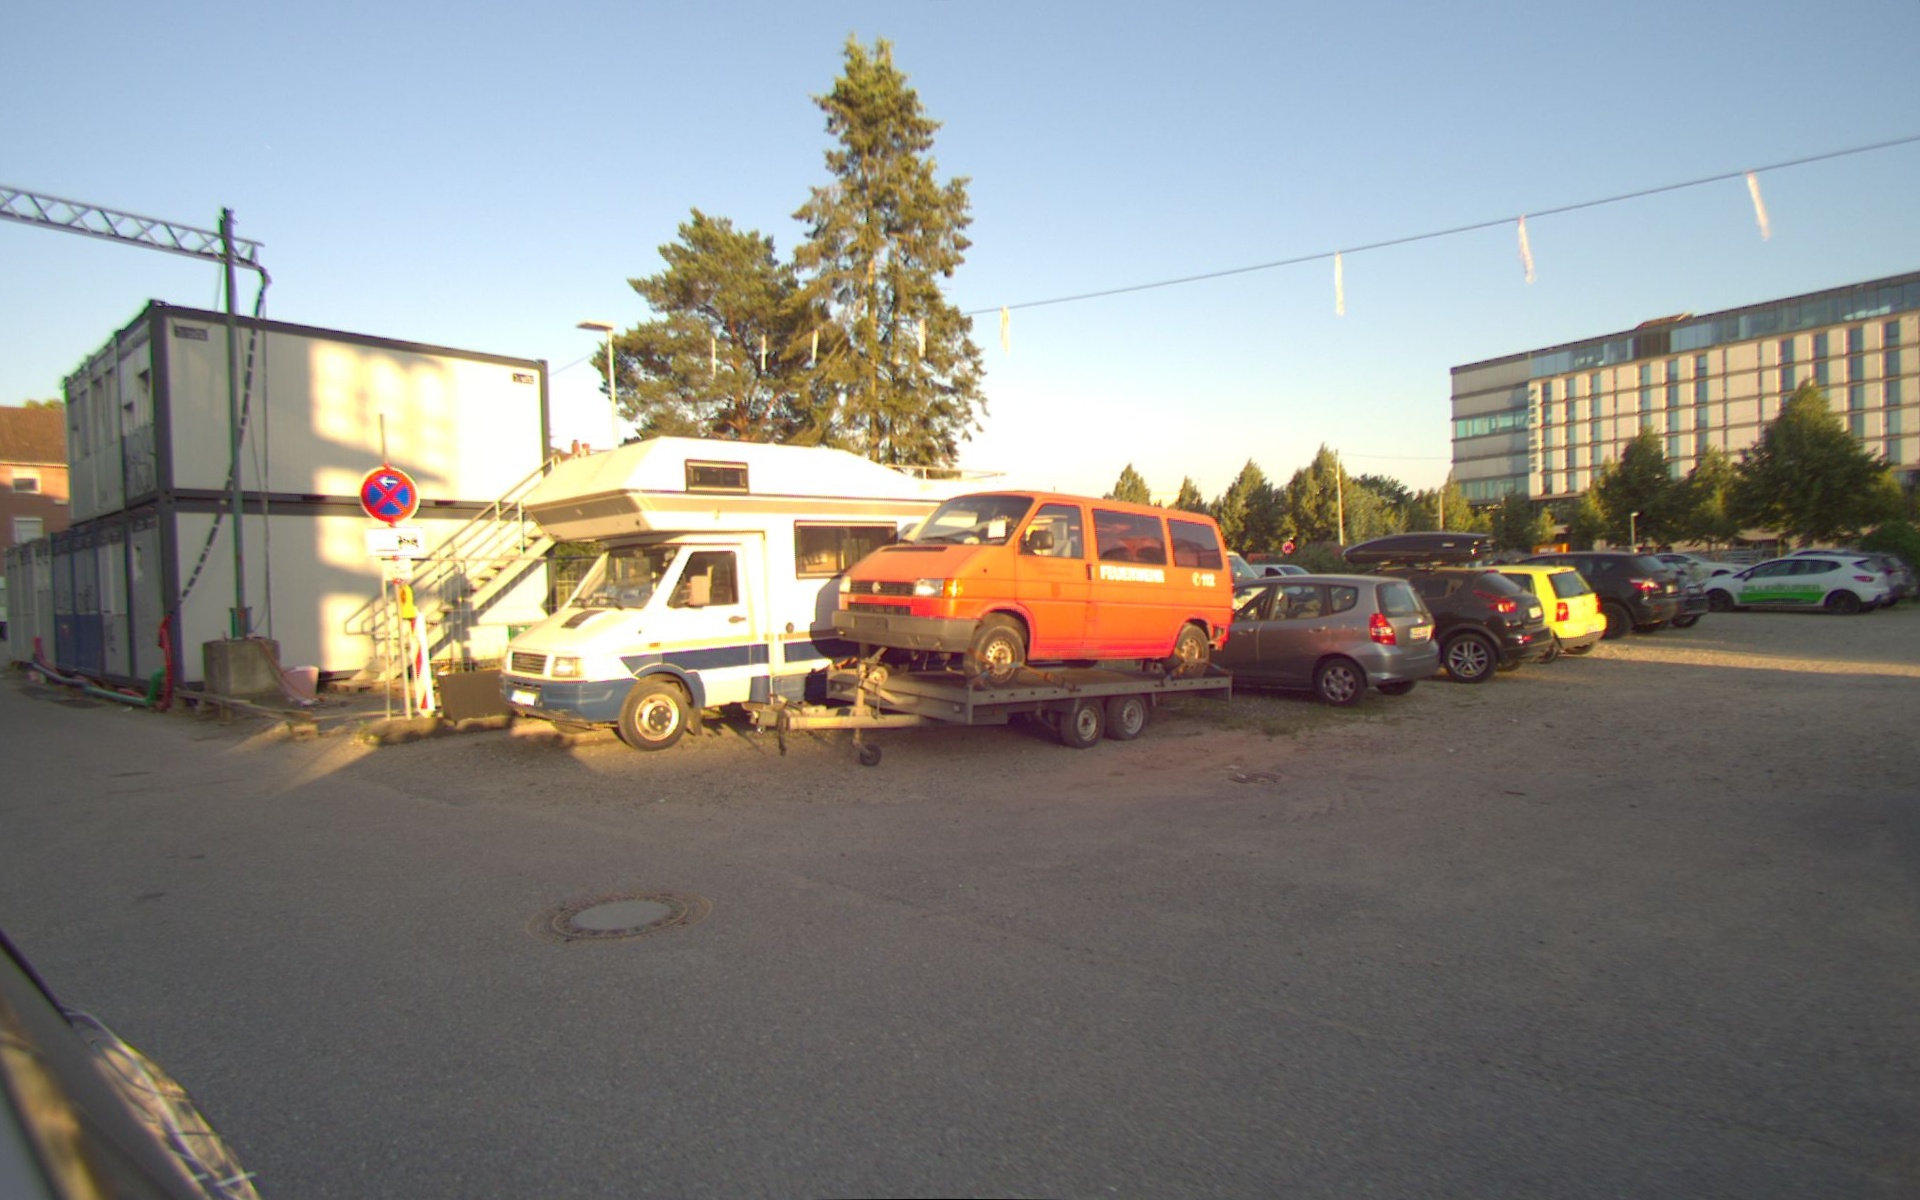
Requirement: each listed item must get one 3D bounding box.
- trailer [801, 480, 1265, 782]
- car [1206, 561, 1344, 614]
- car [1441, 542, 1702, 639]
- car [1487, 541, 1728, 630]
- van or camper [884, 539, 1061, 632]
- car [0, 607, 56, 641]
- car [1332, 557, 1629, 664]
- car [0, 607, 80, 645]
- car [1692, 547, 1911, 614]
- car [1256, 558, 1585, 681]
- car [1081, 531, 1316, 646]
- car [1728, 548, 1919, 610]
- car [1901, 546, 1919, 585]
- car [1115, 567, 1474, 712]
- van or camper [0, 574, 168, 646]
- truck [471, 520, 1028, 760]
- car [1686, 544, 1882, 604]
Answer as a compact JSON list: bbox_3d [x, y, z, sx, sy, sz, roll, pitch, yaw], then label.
[{"bbox_3d":[0.954,0.122,10.590,4.734,2.450,2.137,-4,3,-42],"label":"trailer"},{"bbox_3d":[12.594,-0.482,40.797,2.023,1.951,5.119,-2,1,-34],"label":"car"},{"bbox_3d":[11.656,-0.179,19.475,1.821,1.681,3.943,-2,1,-43],"label":"car"},{"bbox_3d":[13.553,-0.293,21.348,1.821,1.681,3.943,-2,1,-43],"label":"car"},{"bbox_3d":[0.300,-0.440,33.051,5.802,2.791,2.231,-1,1,44],"label":"van or camper"},{"bbox_3d":[-48.254,1.257,51.093,1.809,1.527,3.677,-1,3,43],"label":"car"},{"bbox_3d":[8.417,0.134,16.606,1.821,1.534,3.943,-2,1,-43],"label":"car"},{"bbox_3d":[-43.438,1.224,47.008,1.769,1.527,3.677,-1,3,43],"label":"car"},{"bbox_3d":[21.104,-0.474,25.538,1.636,1.551,3.949,-2,1,-34],"label":"car"},{"bbox_3d":[6.563,0.230,14.710,1.822,1.534,3.942,-2,1,-43],"label":"car"},{"bbox_3d":[5.023,-0.166,22.032,1.819,2.165,4.832,-2,-1,-37],"label":"car"},{"bbox_3d":[23.256,-0.541,27.122,1.636,1.551,3.949,-2,1,-34],"label":"car"},{"bbox_3d":[39.577,-1.402,39.463,1.636,1.551,3.949,-2,1,-34],"label":"car"},{"bbox_3d":[4.124,0.416,12.897,1.822,1.534,3.942,-2,1,-43],"label":"car"},{"bbox_3d":[-38.627,0.406,43.820,2.407,2.659,6.386,-1,3,43],"label":"van or camper"},{"bbox_3d":[-2.059,0.256,11.630,2.357,2.058,5.944,-1,1,44],"label":"truck"},{"bbox_3d":[27.760,-0.835,34.279,1.656,1.856,4.852,-2,1,-32],"label":"car"}]
